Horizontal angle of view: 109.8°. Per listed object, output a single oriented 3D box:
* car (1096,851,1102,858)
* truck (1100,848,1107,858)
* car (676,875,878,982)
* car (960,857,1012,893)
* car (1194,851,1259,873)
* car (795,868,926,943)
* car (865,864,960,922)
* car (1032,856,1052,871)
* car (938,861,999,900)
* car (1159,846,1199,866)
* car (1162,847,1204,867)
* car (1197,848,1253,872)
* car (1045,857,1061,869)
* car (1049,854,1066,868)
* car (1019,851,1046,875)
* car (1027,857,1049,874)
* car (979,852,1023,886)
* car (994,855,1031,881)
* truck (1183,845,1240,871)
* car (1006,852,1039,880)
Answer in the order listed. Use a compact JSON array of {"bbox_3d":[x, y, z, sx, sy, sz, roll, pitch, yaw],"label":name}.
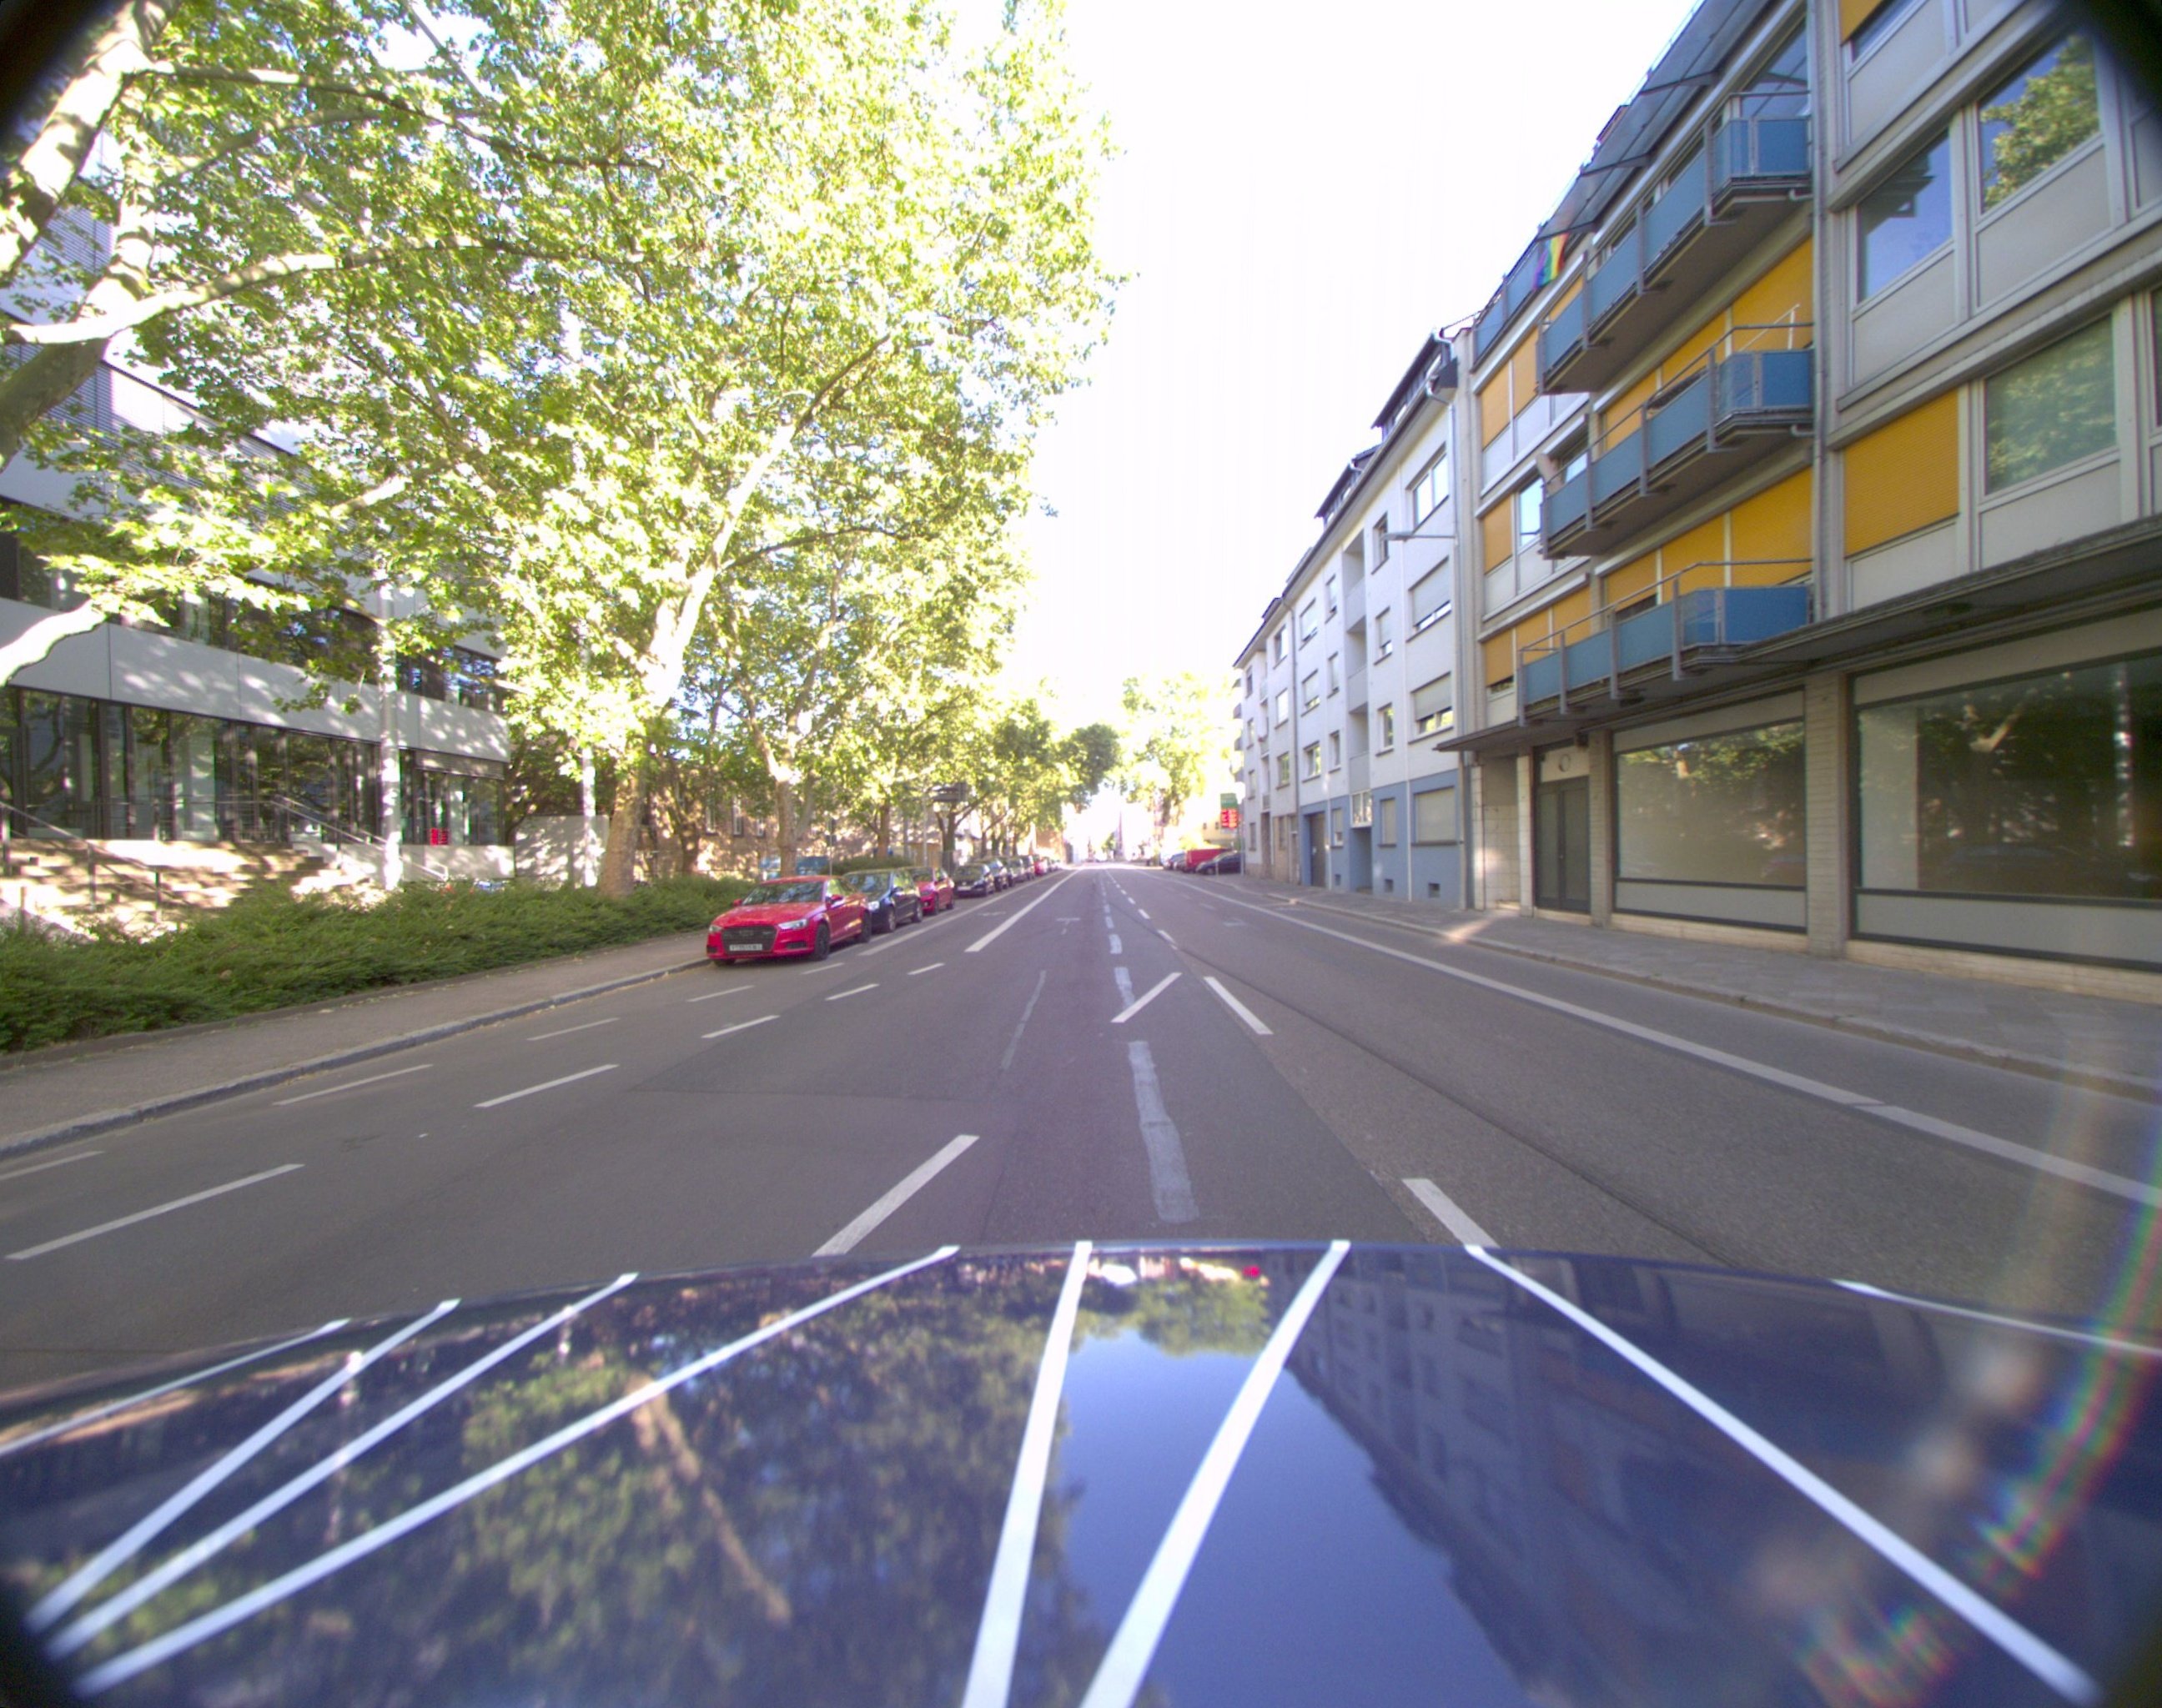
[{"bbox_3d":[6.159,0.167,259.452,1.998,2.002,3.999,-2,1,1],"label":"car"},{"bbox_3d":[6.871,-0.318,233.821,1.998,2.653,5.314,-2,1,0],"label":"truck"},{"bbox_3d":[-5.191,1.193,13.636,1.907,1.417,3.999,-2,1,1],"label":"car"},{"bbox_3d":[-4.688,1.000,38.126,1.998,1.592,4.142,-2,1,1],"label":"car"},{"bbox_3d":[10.452,0.561,54.781,4.324,1.398,1.658,-2,1,0],"label":"car"},{"bbox_3d":[-5.175,1.164,18.351,1.998,1.452,3.644,-2,1,1],"label":"car"},{"bbox_3d":[-5.132,1.144,23.675,1.998,1.490,3.828,-2,1,1],"label":"car"},{"bbox_3d":[-4.142,0.979,80.747,1.824,1.466,3.999,-2,1,1],"label":"car"},{"bbox_3d":[-4.842,1.123,33.177,1.998,1.447,3.589,-2,1,1],"label":"car"},{"bbox_3d":[10.945,0.204,85.311,4.236,2.025,2.000,-2,1,3],"label":"car"},{"bbox_3d":[10.859,0.271,80.911,4.236,1.945,2.000,-2,1,3],"label":"car"},{"bbox_3d":[10.797,0.439,57.113,3.810,1.563,1.658,-2,1,0],"label":"car"},{"bbox_3d":[-3.351,1.061,92.735,1.693,1.364,3.999,-2,1,1],"label":"car"},{"bbox_3d":[-3.189,0.896,103.006,1.998,1.682,3.999,-2,1,1],"label":"car"},{"bbox_3d":[-4.225,0.777,66.425,1.998,1.960,3.999,-2,1,1],"label":"car"},{"bbox_3d":[-4.040,1.074,71.995,1.824,1.466,3.999,-2,1,1],"label":"car"},{"bbox_3d":[-4.611,0.832,44.514,1.998,1.777,4.572,-2,1,1],"label":"car"},{"bbox_3d":[-4.519,0.895,50.951,1.998,1.557,4.142,-2,1,1],"label":"car"},{"bbox_3d":[10.283,0.309,60.207,4.092,1.913,2.000,-2,1,0],"label":"truck"},{"bbox_3d":[-4.235,0.837,55.559,1.998,1.838,3.999,-2,1,1],"label":"car"}]
